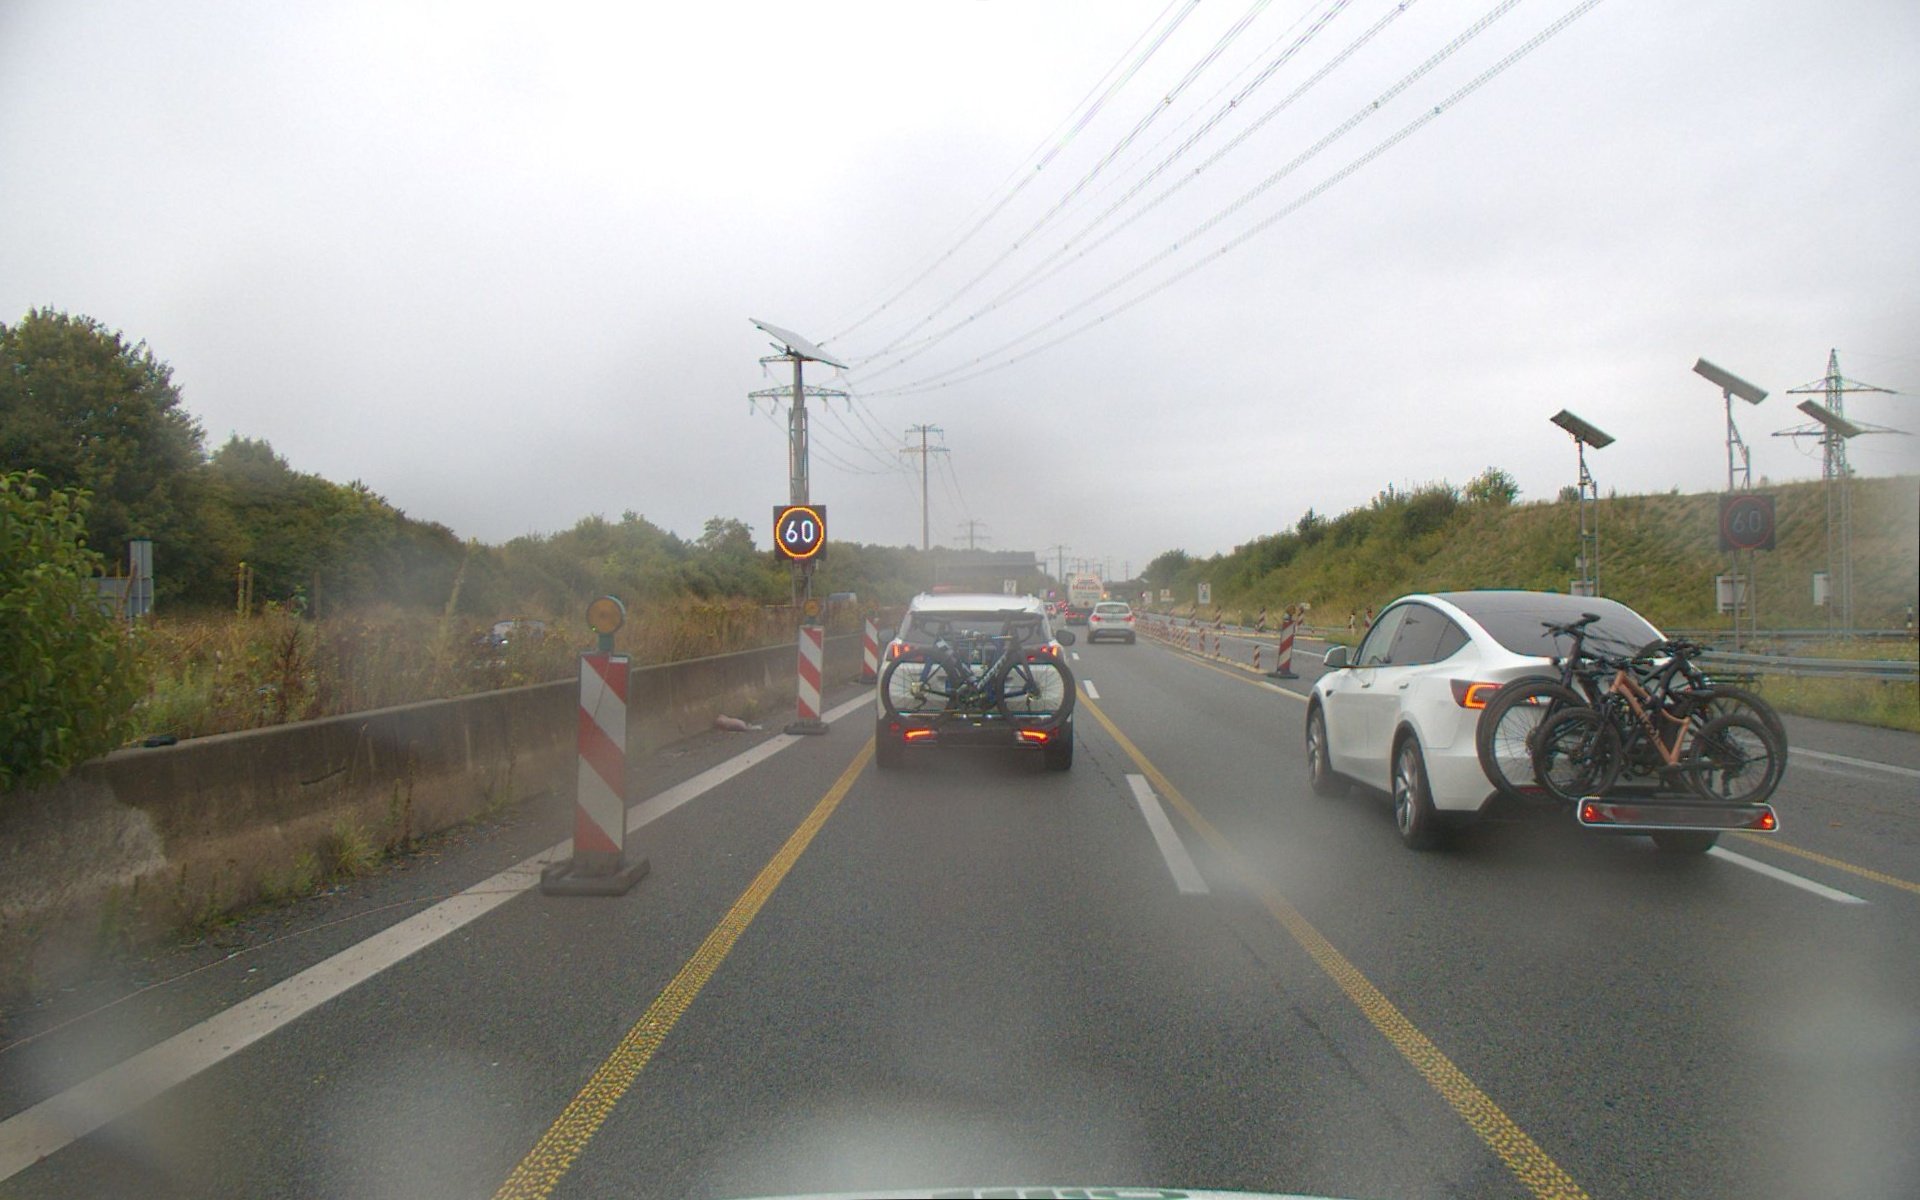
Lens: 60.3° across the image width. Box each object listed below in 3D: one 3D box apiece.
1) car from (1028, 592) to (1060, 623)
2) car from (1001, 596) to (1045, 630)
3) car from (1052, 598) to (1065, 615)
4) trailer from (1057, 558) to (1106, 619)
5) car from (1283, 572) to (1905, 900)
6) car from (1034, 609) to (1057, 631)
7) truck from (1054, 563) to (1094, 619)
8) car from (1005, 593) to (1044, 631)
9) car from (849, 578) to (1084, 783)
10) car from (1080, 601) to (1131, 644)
[{"bbox_3d":[5.674,0.495,111.850,1.953,2.049,4.000,1,1,0],"label":"car"},{"bbox_3d":[3.035,0.610,80.372,1.953,1.611,4.000,0,0,0],"label":"car"},{"bbox_3d":[12.098,0.826,203.018,1.619,2.049,4.002,0,0,4],"label":"car"},{"bbox_3d":[8.295,-0.715,114.092,2.584,3.961,10.542,1,-1,0],"label":"trailer"},{"bbox_3d":[3.773,0.695,11.258,2.004,1.624,5.801,1,0,0],"label":"car"},{"bbox_3d":[7.915,1.855,153.201,1.953,2.049,4.000,1,-1,0],"label":"car"},{"bbox_3d":[8.317,-0.638,120.605,2.590,3.959,4.029,1,-1,0],"label":"truck"},{"bbox_3d":[3.542,0.642,91.624,1.953,2.049,4.000,-1,0,0],"label":"car"},{"bbox_3d":[0.150,0.651,15.667,1.888,1.639,4.596,0,0,2],"label":"car"},{"bbox_3d":[5.486,0.819,62.749,1.831,1.561,4.198,0,0,3],"label":"car"}]
